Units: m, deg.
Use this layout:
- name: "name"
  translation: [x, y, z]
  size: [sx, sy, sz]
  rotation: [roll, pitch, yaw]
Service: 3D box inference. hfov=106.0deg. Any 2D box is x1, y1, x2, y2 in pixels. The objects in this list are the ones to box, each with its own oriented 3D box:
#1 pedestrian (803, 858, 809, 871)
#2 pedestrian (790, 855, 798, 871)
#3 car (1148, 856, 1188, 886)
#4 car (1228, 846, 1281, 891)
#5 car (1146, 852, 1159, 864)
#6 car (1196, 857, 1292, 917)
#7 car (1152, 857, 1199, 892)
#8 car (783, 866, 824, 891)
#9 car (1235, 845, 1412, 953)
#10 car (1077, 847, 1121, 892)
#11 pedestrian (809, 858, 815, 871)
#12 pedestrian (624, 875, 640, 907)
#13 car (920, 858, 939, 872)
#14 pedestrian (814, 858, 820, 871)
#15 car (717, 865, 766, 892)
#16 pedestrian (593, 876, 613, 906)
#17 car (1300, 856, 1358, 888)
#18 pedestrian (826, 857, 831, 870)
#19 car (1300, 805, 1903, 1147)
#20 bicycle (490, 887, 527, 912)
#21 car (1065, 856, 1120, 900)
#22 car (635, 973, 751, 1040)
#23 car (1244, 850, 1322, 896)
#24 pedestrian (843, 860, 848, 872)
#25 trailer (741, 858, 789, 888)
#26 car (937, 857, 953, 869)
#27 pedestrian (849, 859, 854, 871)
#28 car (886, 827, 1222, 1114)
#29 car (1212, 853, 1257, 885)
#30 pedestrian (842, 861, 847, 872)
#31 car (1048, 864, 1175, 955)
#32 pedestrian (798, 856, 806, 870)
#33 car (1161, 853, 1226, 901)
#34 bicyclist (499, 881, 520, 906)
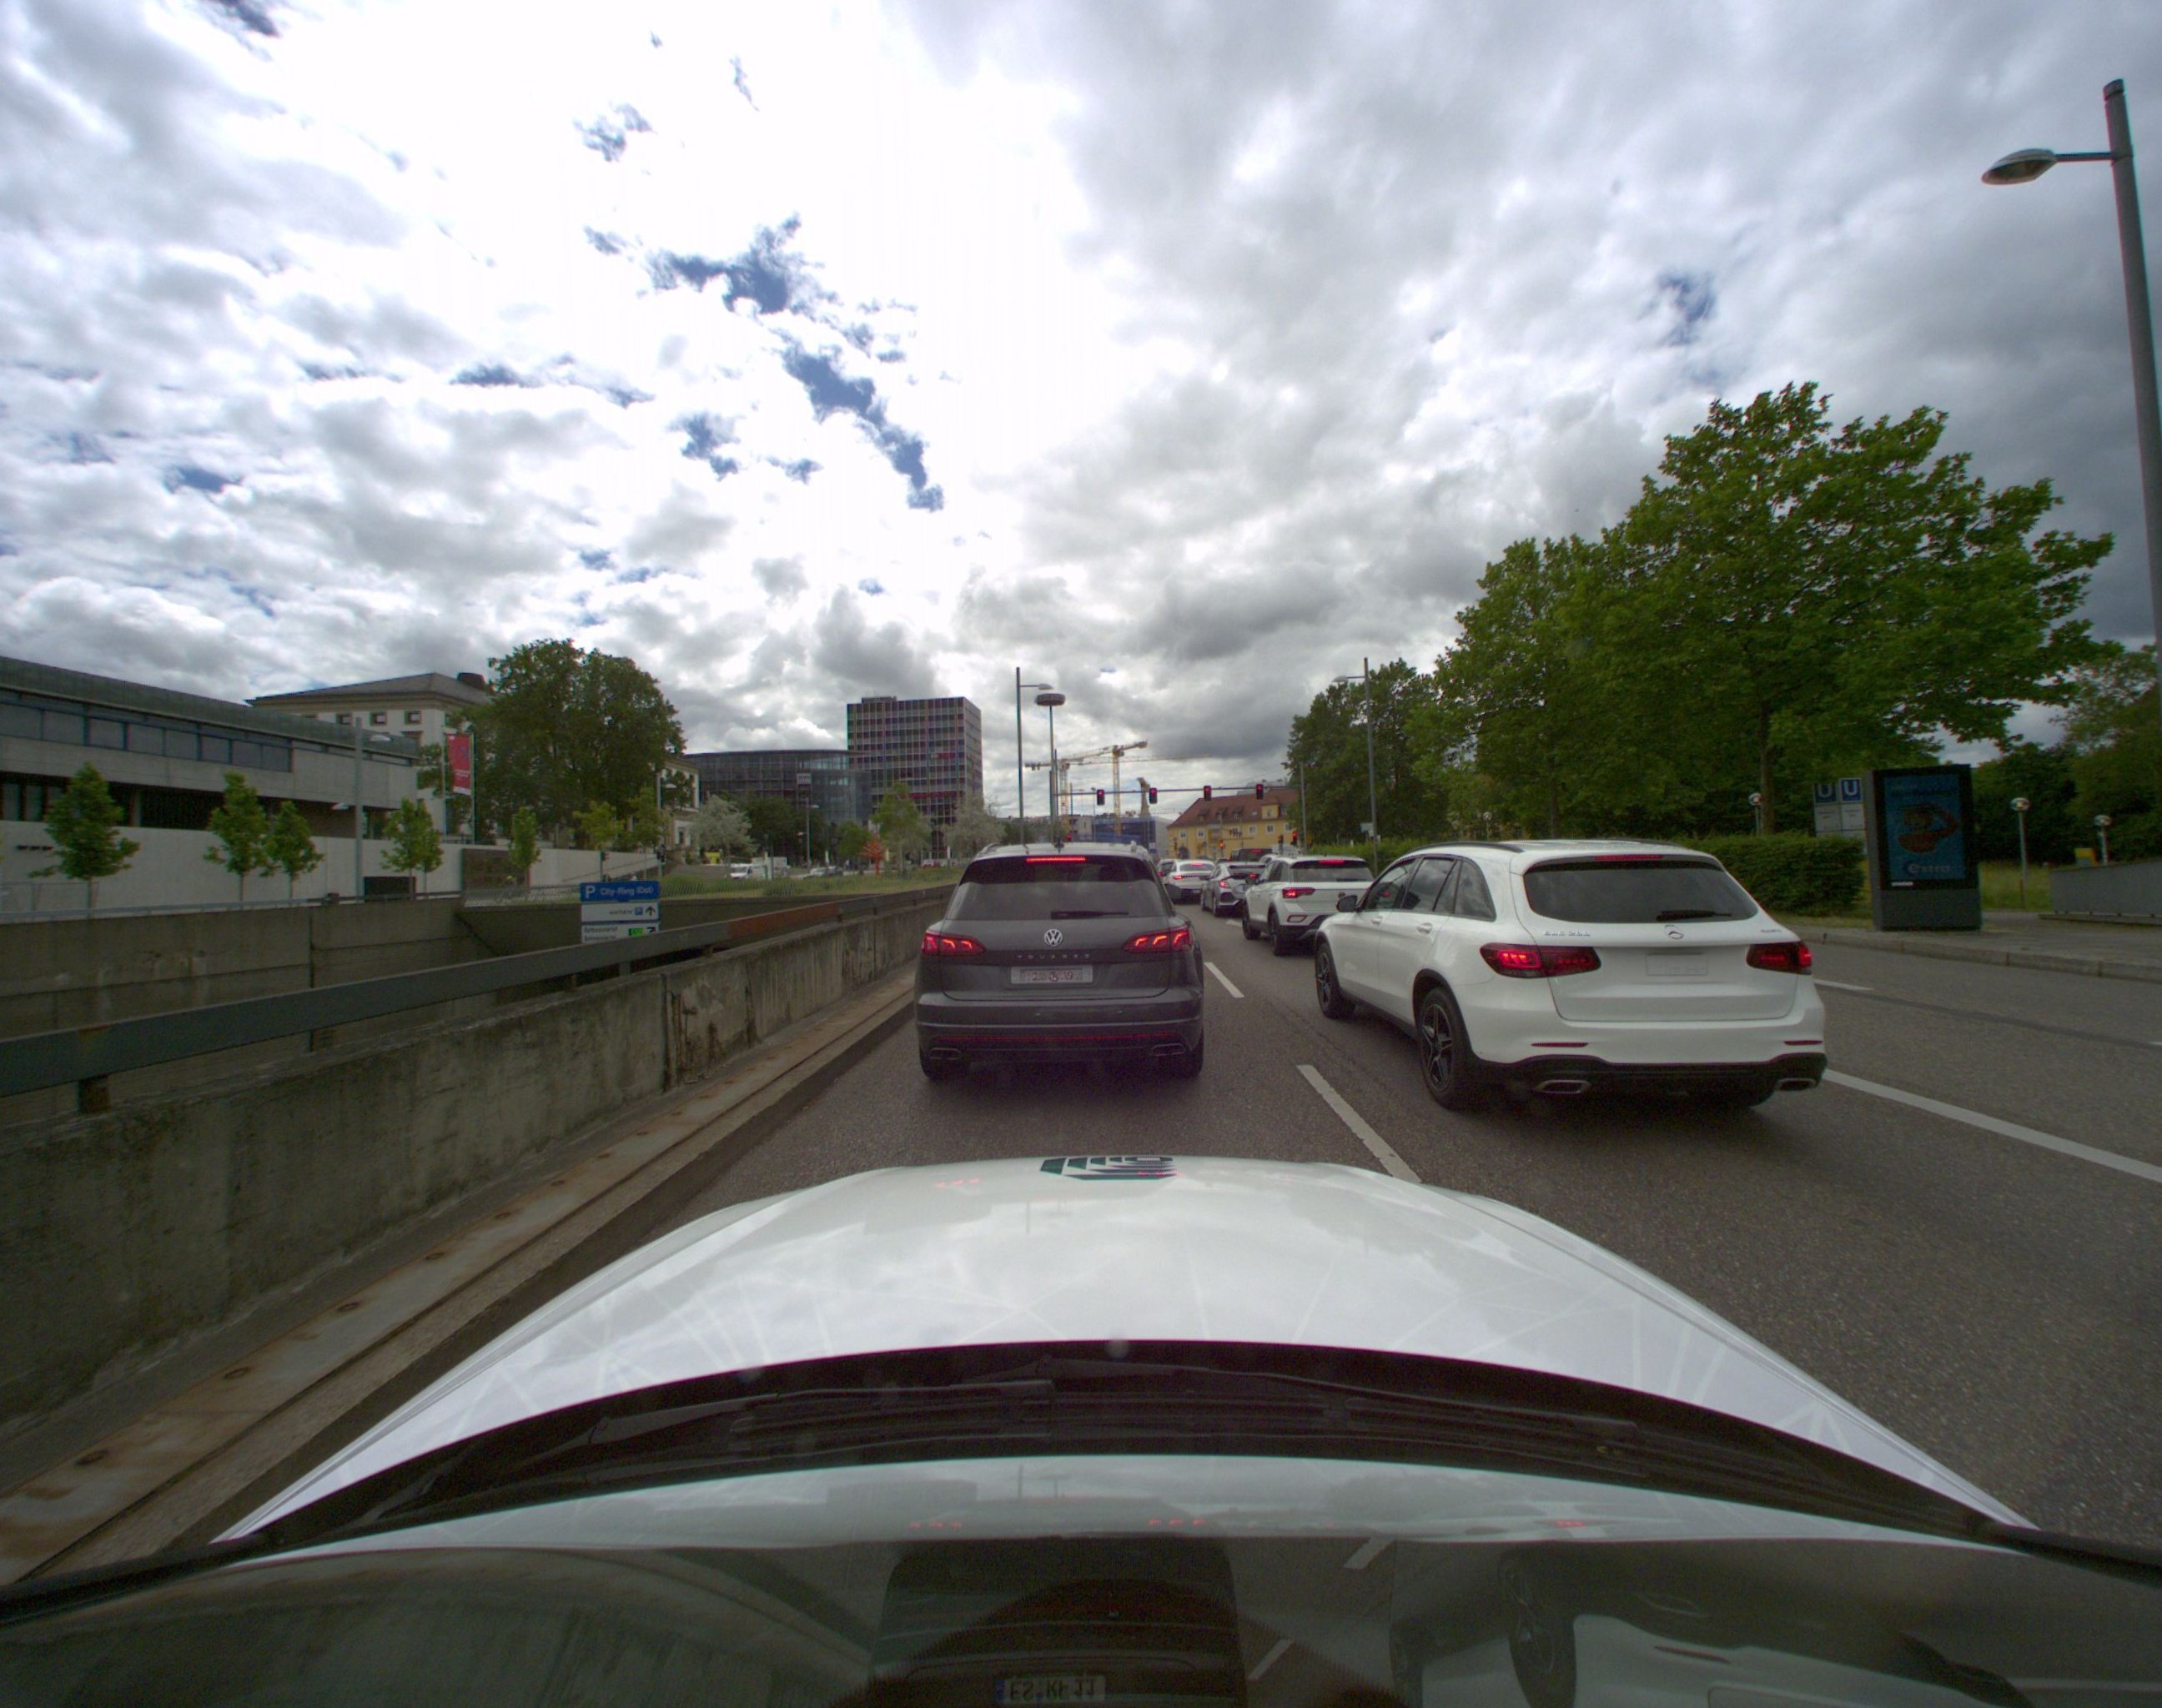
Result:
- name: "pedestrian"
  translation: [-42.937, 1.577, 126.990]
  size: [0.741, 2.013, 0.914]
  rotation: [-2, 1, -22]
- name: "pedestrian"
  translation: [-38.634, 1.229, 109.524]
  size: [0.736, 2.014, 0.793]
  rotation: [-2, -3, 0]
- name: "car"
  translation: [4.659, 0.929, 44.059]
  size: [1.918, 1.529, 4.050]
  rotation: [-1, -1, 3]
- name: "car"
  translation: [8.261, 0.685, 39.052]
  size: [1.902, 2.014, 4.014]
  rotation: [0, -1, 3]
- name: "car"
  translation: [9.724, 0.585, 111.362]
  size: [1.612, 1.627, 4.002]
  rotation: [0, -2, 3]
- name: "car"
  translation: [4.316, 0.848, 22.219]
  size: [1.918, 1.432, 4.493]
  rotation: [-1, -1, 3]
- name: "car"
  translation: [4.340, 0.937, 37.774]
  size: [1.918, 1.529, 4.050]
  rotation: [-1, -1, 3]
- name: "car"
  translation: [-25.684, 2.230, 75.509]
  size: [1.985, 2.013, 4.695]
  rotation: [-2, 1, 3]
- name: "car"
  translation: [3.952, 0.695, 14.096]
  size: [1.918, 1.551, 4.493]
  rotation: [-1, -1, 3]
- name: "car"
  translation: [0.875, 0.712, 38.679]
  size: [1.944, 2.018, 3.932]
  rotation: [0, 0, 1]
- name: "pedestrian"
  translation: [-41.916, 1.580, 126.952]
  size: [0.741, 2.013, 0.914]
  rotation: [-2, 1, -23]
- name: "pedestrian"
  translation: [-29.185, 2.393, 52.932]
  size: [0.865, 2.013, 0.623]
  rotation: [-2, 1, -28]
- name: "car"
  translation: [-24.514, 1.718, 131.860]
  size: [1.986, 2.013, 4.693]
  rotation: [-2, 1, 1]
- name: "pedestrian"
  translation: [-41.618, 1.619, 128.355]
  size: [0.741, 2.013, 1.076]
  rotation: [-2, 1, -20]
- name: "car"
  translation: [-28.819, 2.053, 69.282]
  size: [1.985, 2.013, 4.695]
  rotation: [-2, 1, 3]
- name: "pedestrian"
  translation: [-32.327, 2.502, 55.074]
  size: [0.830, 2.013, 0.794]
  rotation: [-2, 0, 5]
- name: "car"
  translation: [12.067, 0.902, 39.905]
  size: [1.921, 1.460, 4.535]
  rotation: [0, -1, 7]
- name: "pedestrian"
  translation: [-40.249, 1.556, 129.896]
  size: [0.739, 2.013, 0.789]
  rotation: [-2, 1, -14]
- name: "car"
  translation: [3.151, 0.612, 6.252]
  size: [1.918, 1.653, 4.493]
  rotation: [-1, 0, 3]
- name: "bicycle"
  translation: [-36.401, 2.881, 51.836]
  size: [0.723, 1.536, 2.190]
  rotation: [0, -2, 1]
- name: "car"
  translation: [0.477, 0.873, 31.147]
  size: [1.944, 1.600, 3.932]
  rotation: [0, 0, 1]
- name: "car"
  translation: [-18.764, 7.346, 39.843]
  size: [2.610, 2.311, 5.936]
  rotation: [0, -2, 2]
- name: "car"
  translation: [7.898, 0.696, 32.289]
  size: [1.987, 1.640, 4.304]
  rotation: [-1, 1, 0]
- name: "pedestrian"
  translation: [-41.784, 2.096, 144.671]
  size: [0.739, 2.013, 0.789]
  rotation: [-2, 1, -14]
- name: "trailer"
  translation: [-28.774, 1.699, 74.392]
  size: [2.030, 2.604, 5.511]
  rotation: [0, 0, 2]
- name: "car"
  translation: [-24.301, 1.569, 145.694]
  size: [1.986, 2.013, 4.693]
  rotation: [-2, 1, 1]
- name: "pedestrian"
  translation: [-40.793, 1.969, 144.723]
  size: [0.739, 2.013, 0.789]
  rotation: [-2, 1, -14]
- name: "car"
  translation: [-0.101, 0.696, 6.780]
  size: [1.944, 1.651, 4.001]
  rotation: [-1, 0, 1]
- name: "car"
  translation: [8.345, 0.822, 44.632]
  size: [1.902, 1.697, 4.014]
  rotation: [0, -1, 3]
- name: "pedestrian"
  translation: [-43.454, 2.334, 149.768]
  size: [0.741, 2.013, 0.787]
  rotation: [-2, 1, -20]
- name: "car"
  translation: [0.524, 0.875, 14.504]
  size: [1.944, 1.384, 3.932]
  rotation: [0, 0, 1]
- name: "pedestrian"
  translation: [-40.413, 1.333, 117.926]
  size: [0.735, 2.013, 0.793]
  rotation: [-2, 1, 2]
- name: "car"
  translation: [3.904, 0.792, 28.960]
  size: [1.918, 1.529, 4.493]
  rotation: [-1, -1, 3]
- name: "bicyclist"
  translation: [-36.397, 2.502, 51.841]
  size: [0.728, 1.554, 0.776]
  rotation: [0, -2, 1]
